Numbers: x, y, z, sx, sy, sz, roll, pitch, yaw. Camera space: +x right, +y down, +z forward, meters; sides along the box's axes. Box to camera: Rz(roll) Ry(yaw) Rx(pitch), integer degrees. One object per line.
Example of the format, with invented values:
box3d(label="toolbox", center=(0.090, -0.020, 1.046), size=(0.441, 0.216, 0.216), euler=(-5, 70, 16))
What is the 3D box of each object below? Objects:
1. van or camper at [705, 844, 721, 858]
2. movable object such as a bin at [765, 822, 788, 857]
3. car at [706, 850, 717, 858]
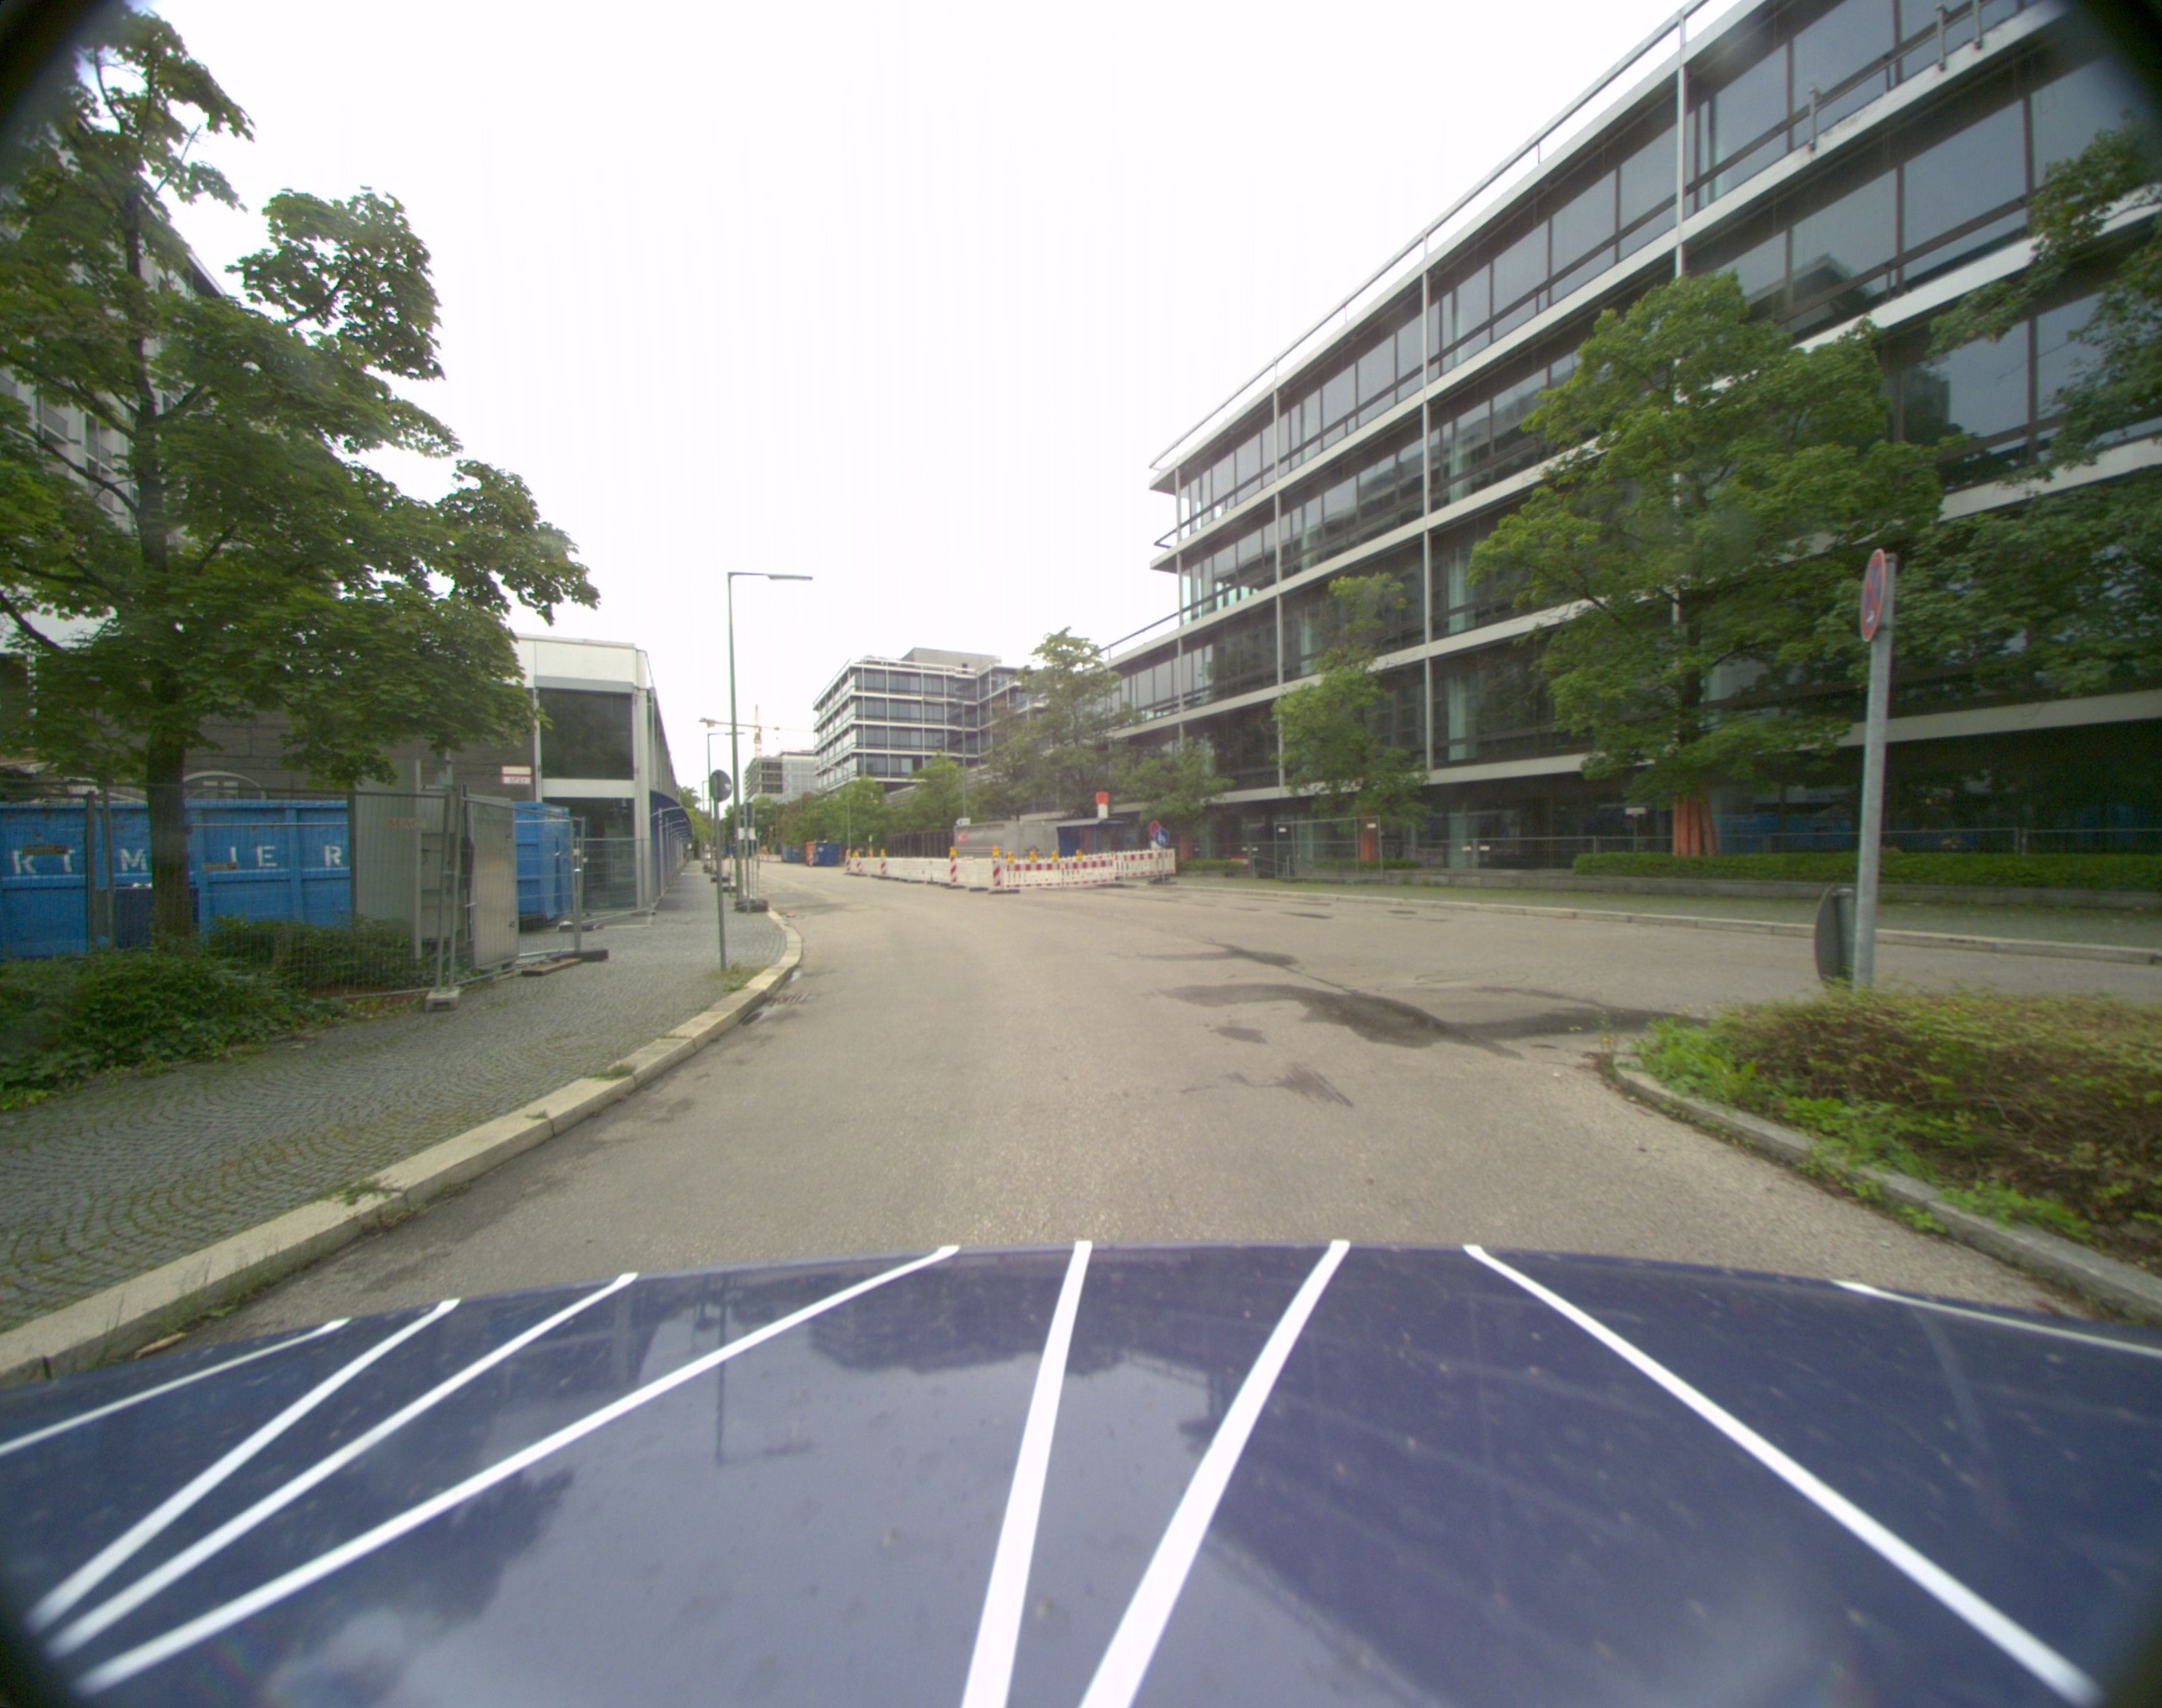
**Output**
box3d(label="van or camper", center=(-78.950, -0.636, 163.124), size=(2.672, 2.751, 6.900), euler=(-1, 1, -24))
box3d(label="movable object such as a bin", center=(-55.655, -2.615, 138.812), size=(3.248, 6.286, 8.318), euler=(-2, 1, -24))
box3d(label="car", center=(-76.466, -0.018, 157.369), size=(1.916, 1.627, 3.991), euler=(-2, 1, -25))
